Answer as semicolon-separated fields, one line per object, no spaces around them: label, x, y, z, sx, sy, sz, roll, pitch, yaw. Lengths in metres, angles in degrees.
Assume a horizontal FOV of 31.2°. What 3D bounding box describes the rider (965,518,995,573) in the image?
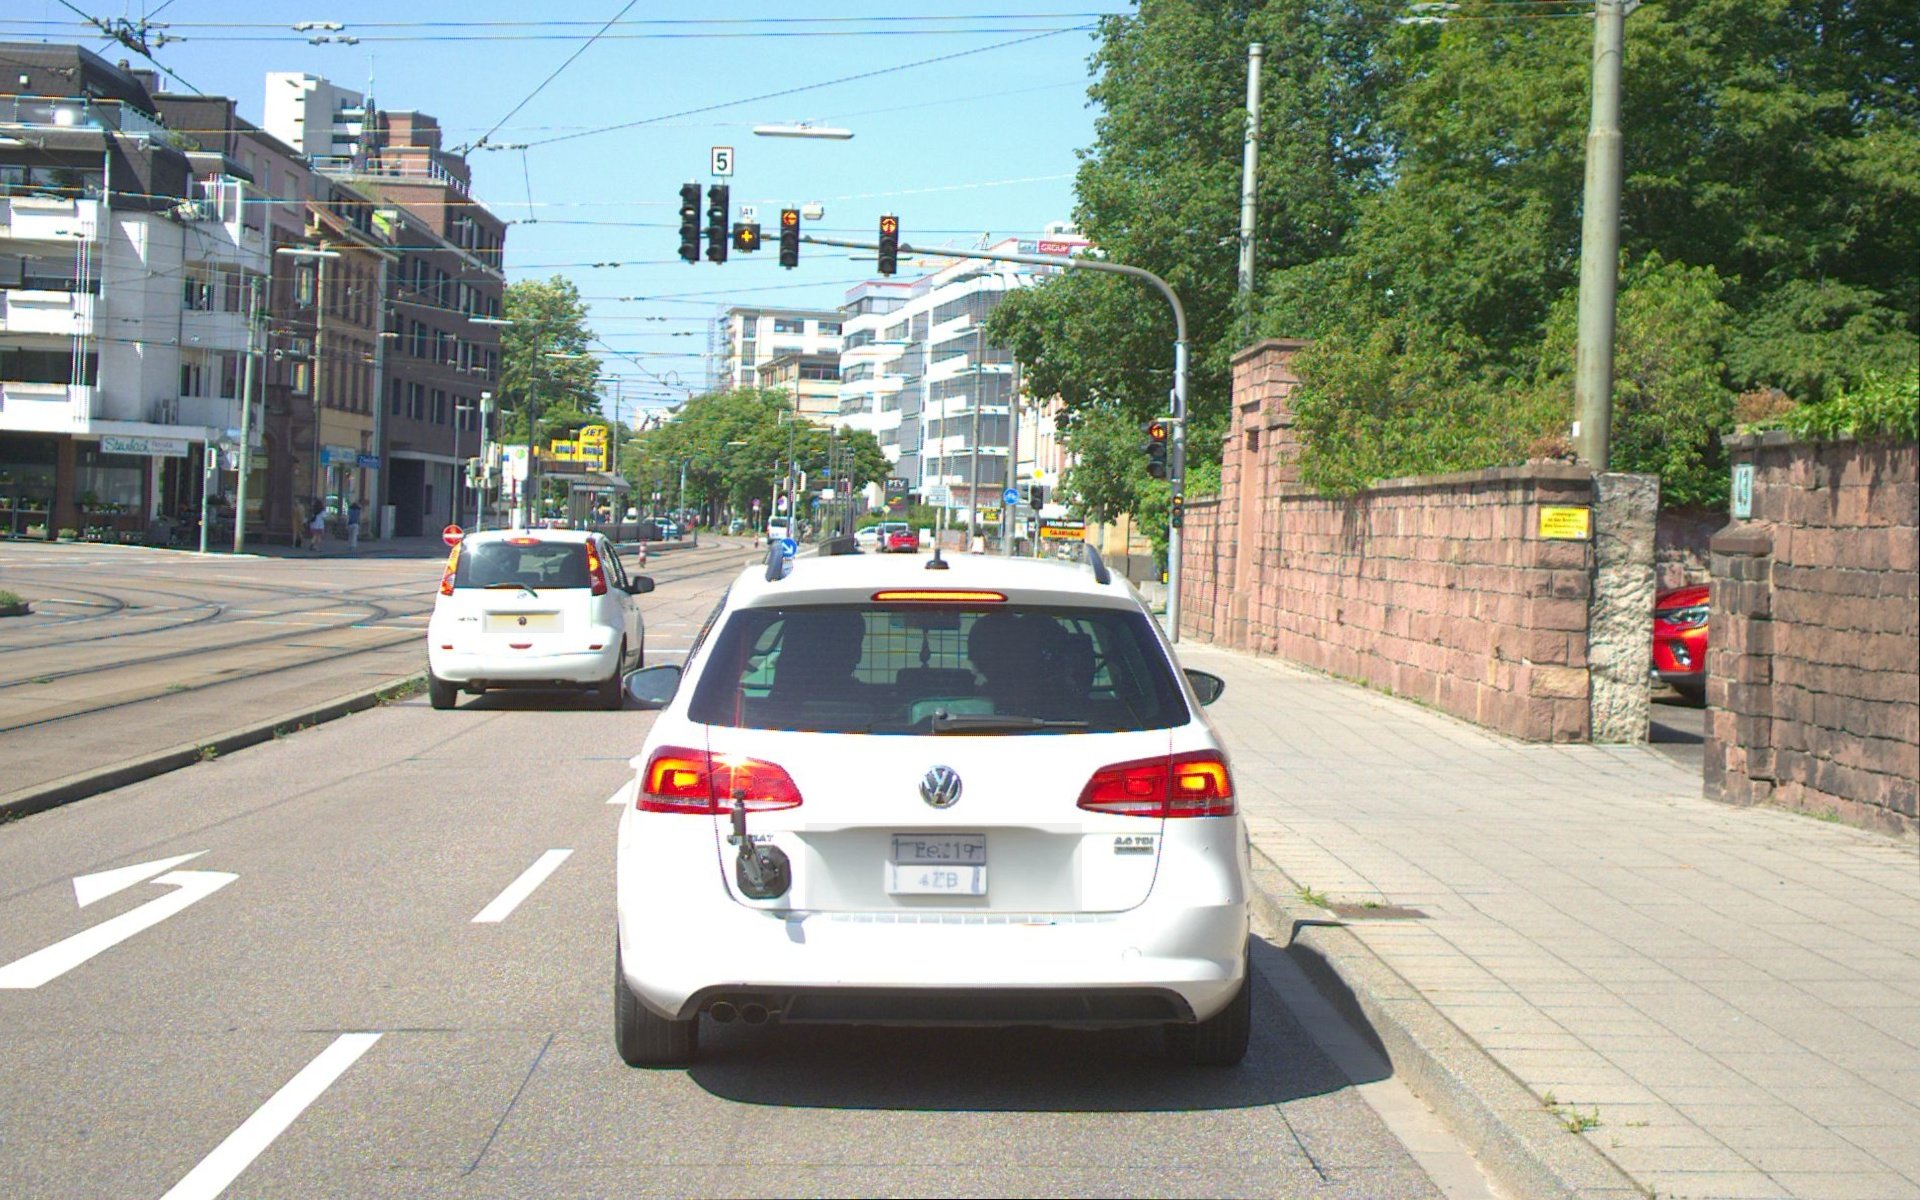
rider;0.644;-1.775;111.810;0.891;1.722;2.204;2;1;0

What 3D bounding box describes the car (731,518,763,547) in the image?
car;-12.363;-3.939;199.795;1.698;1.585;3.535;2;1;-2

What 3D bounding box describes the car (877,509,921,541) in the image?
car;-4.046;-4.963;226.614;1.993;2.007;4.002;2;1;-14

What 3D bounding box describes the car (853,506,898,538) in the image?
car;-5.367;-4.938;218.063;1.993;1.897;4.002;2;1;-14

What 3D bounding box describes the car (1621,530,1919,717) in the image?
car;7.515;0.209;29.282;3.407;1.459;1.524;2;1;-1

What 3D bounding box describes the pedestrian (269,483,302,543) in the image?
pedestrian;-23.144;-2.996;117.971;0.936;2.007;0.991;2;1;-5

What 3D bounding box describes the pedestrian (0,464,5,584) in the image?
pedestrian;-14.192;-1.096;49.234;0.826;1.733;0.932;2;1;-8

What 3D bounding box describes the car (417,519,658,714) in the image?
car;-3.740;0.094;31.012;1.730;1.590;4.011;2;1;-1

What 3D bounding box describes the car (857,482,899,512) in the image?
car;-5.764;-7.211;240.926;1.993;2.007;4.002;2;1;-14

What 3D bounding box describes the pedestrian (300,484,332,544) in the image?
pedestrian;-21.716;-2.898;115.908;0.936;2.007;0.991;2;1;-6

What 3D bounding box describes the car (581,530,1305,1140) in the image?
car;-0.045;0.549;10.525;1.778;1.485;3.847;1;1;0

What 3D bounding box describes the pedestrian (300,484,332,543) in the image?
pedestrian;-22.289;-2.985;118.961;0.936;2.007;0.991;2;1;-6

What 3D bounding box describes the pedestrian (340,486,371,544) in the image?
pedestrian;-21.379;-3.006;121.602;0.936;2.007;0.991;2;1;-6

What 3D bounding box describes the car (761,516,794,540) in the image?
car;-12.416;-4.900;233.246;1.698;1.585;3.536;2;1;-11
